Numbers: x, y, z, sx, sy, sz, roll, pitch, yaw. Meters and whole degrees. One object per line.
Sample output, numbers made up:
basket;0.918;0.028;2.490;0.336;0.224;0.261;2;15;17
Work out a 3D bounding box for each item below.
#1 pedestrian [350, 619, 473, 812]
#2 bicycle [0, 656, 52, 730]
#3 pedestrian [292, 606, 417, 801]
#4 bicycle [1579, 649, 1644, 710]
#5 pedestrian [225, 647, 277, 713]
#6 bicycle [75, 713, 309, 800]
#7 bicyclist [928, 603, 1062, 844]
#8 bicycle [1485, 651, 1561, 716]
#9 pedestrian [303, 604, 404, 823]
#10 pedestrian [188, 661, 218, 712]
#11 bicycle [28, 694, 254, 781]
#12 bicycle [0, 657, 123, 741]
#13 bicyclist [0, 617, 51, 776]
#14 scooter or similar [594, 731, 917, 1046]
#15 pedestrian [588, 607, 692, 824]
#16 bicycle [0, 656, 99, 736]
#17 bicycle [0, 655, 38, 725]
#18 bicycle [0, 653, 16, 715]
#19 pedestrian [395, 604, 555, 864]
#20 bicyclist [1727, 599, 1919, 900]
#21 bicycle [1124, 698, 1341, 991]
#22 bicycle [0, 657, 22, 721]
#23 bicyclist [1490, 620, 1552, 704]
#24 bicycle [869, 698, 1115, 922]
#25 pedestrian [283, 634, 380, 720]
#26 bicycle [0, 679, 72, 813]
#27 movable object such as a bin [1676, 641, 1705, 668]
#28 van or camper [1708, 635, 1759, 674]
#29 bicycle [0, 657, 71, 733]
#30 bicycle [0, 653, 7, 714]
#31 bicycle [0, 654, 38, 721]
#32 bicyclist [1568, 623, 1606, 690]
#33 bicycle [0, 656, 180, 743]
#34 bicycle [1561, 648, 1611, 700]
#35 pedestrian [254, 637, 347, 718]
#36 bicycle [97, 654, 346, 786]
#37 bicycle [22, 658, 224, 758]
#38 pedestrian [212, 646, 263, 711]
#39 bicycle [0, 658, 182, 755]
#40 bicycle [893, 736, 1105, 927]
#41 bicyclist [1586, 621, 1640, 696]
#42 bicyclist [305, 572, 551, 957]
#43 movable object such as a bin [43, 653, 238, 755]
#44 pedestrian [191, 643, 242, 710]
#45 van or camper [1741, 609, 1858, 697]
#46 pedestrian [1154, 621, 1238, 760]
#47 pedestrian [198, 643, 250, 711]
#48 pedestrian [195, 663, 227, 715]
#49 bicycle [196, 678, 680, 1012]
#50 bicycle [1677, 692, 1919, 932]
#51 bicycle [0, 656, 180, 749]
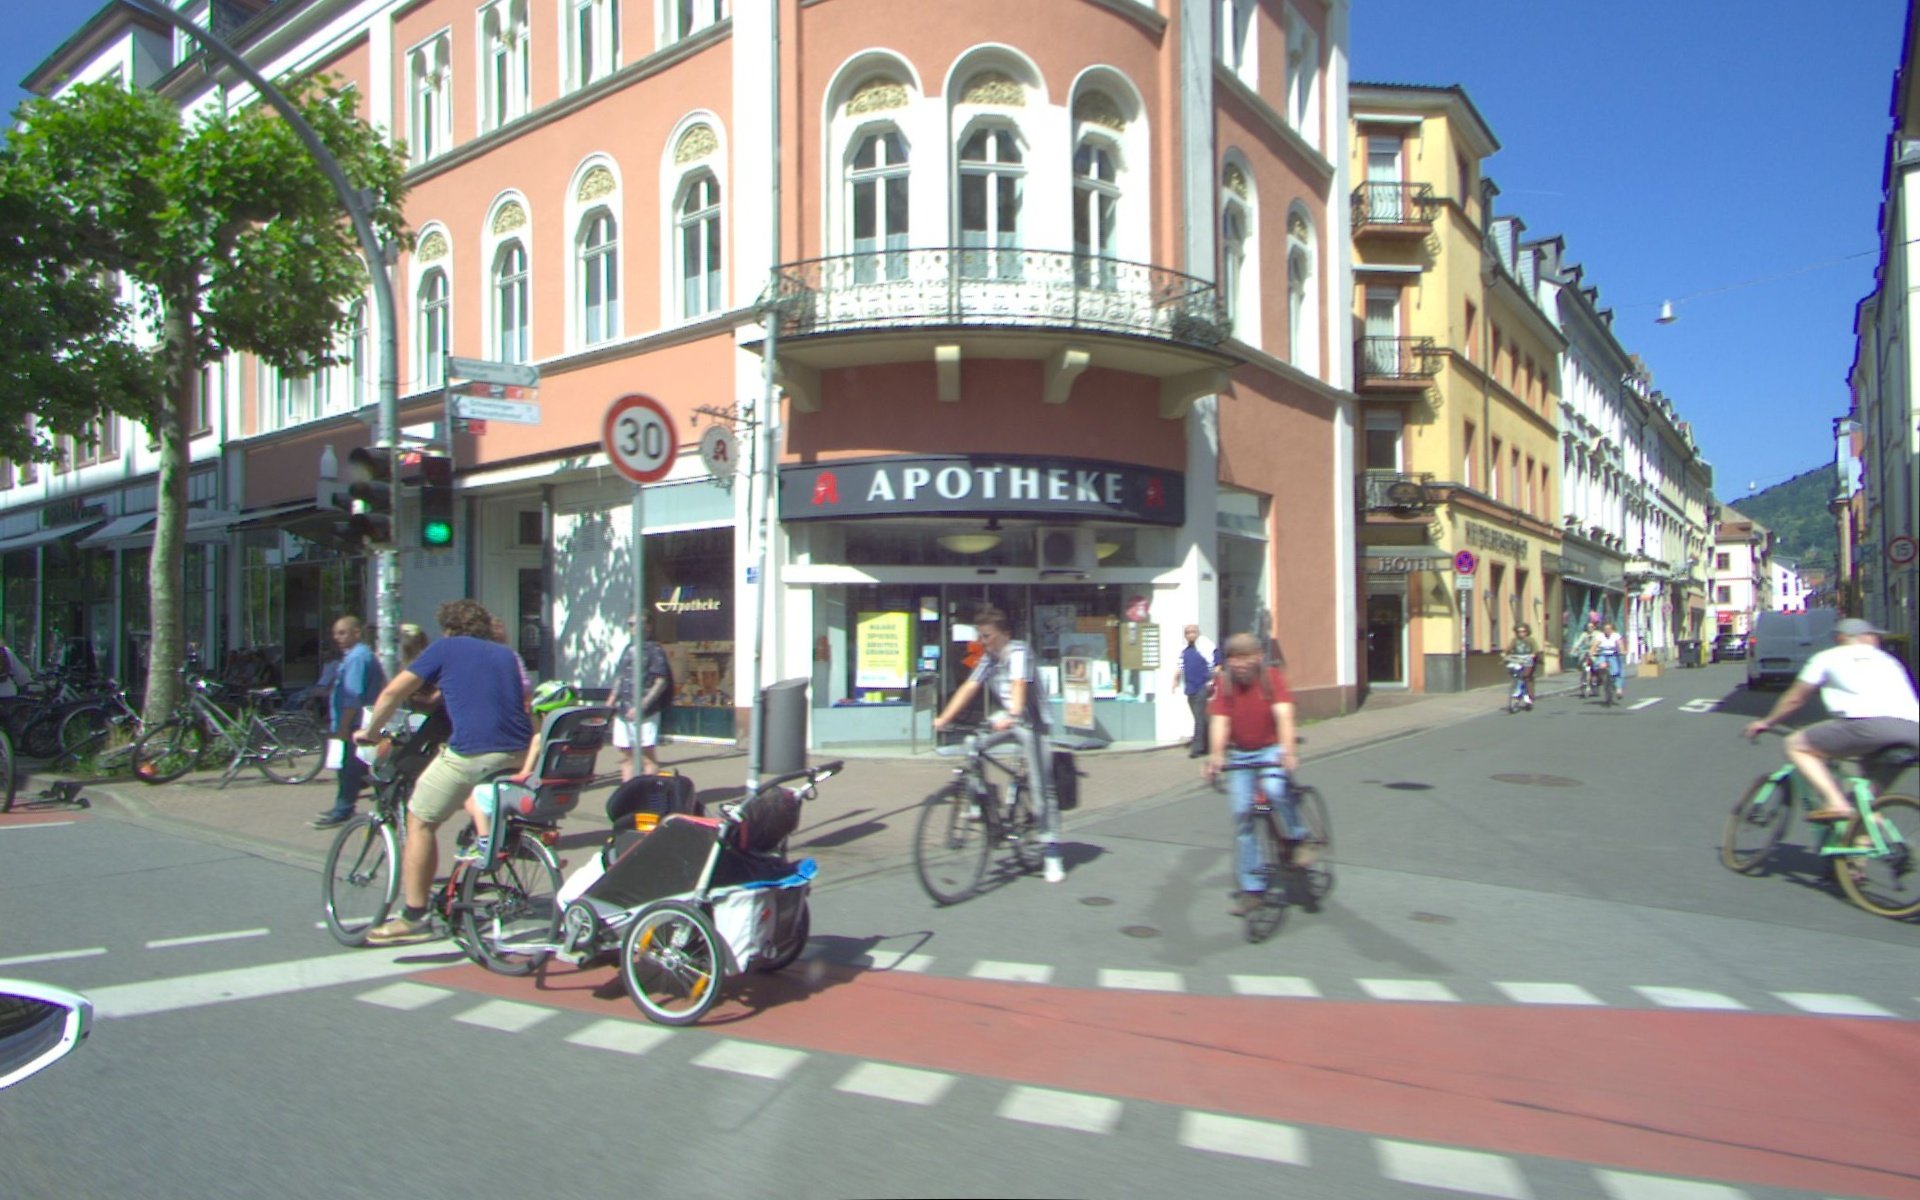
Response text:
pedestrian;-5.153;1.046;9.431;0.631;1.712;0.786;0;-2;30
bicycle;-15.379;1.463;15.533;0.523;1.141;1.835;-2;-3;34
pedestrian;-5.960;0.996;9.875;0.631;1.817;0.787;0;-3;30
bicycle;13.240;1.569;20.297;0.764;1.141;2.553;0;-2;41
pedestrian;-13.990;1.569;19.769;0.600;1.269;0.638;-2;-1;30
bicycle;-8.790;1.788;11.532;1.823;0.440;1.137;-9;6;8
bicyclist;0.240;0.748;6.440;0.494;1.429;0.857;-1;-1;33
bicycle;11.018;1.602;19.551;0.762;1.141;2.553;-3;-3;41
pedestrian;-5.244;0.957;8.663;0.599;1.817;0.452;0;-3;31
pedestrian;-14.926;1.705;19.738;0.431;0.980;0.340;-1;-2;35
bicycle;-9.575;1.655;11.773;1.021;0.395;1.850;-40;-31;23
bicycle;-13.198;1.395;14.271;0.635;1.141;1.835;-2;-3;34
bicyclist;-9.247;0.898;9.434;0.946;1.463;0.698;-1;-3;30
scooter or similar;-0.866;1.154;4.342;1.108;1.073;0.784;-1;-3;26
pedestrian;-2.902;1.030;9.087;0.608;1.865;0.636;-2;-5;45
bicycle;-14.050;1.411;14.854;0.658;1.141;1.835;-2;-3;34
bicycle;-16.189;1.465;16.145;0.671;1.141;1.834;-2;-3;37
bicycle;-18.351;1.542;18.085;0.442;1.141;1.835;-2;-3;35
pedestrian;-3.474;0.944;7.197;0.778;1.728;0.639;-3;-6;30
bicyclist;5.453;0.840;6.169;0.562;1.684;1.159;0;0;0
bicycle;1.666;1.213;5.737;0.618;1.141;2.564;0;-2;29
bicycle;-17.746;1.557;17.566;0.525;1.140;1.830;-3;-5;45
bicyclist;10.882;1.192;19.419;0.762;1.576;1.215;-3;-3;41
bicycle;0.272;1.251;6.476;0.658;1.141;1.834;-2;-3;36
pedestrian;-11.420;1.378;18.224;0.825;1.502;1.251;-1;-3;30
bicycle;-9.254;1.333;9.419;2.050;1.140;0.698;-1;-4;30
movable object such as a bin;31.557;2.340;43.266;0.955;1.162;1.255;-1;-2;39
van or camper;42.265;2.947;54.690;1.978;2.039;3.969;-2;-3;41
bicycle;-14.787;1.446;15.188;0.658;1.141;1.835;-2;-3;34
bicycle;-18.740;1.552;18.318;0.442;1.141;1.835;-2;-3;35
bicycle;-17.165;1.516;17.169;1.973;1.141;0.754;2;-3;-45
bicyclist;14.747;1.318;23.554;0.621;1.549;0.882;0;-1;41
bicycle;-12.429;1.389;14.365;0.658;1.141;1.835;-2;-3;34
bicycle;14.773;1.723;23.591;0.621;1.141;2.553;0;-2;41
pedestrian;-12.215;1.414;18.558;0.778;1.440;1.231;-2;-2;30
bicycle;-7.414;1.215;10.161;1.826;1.203;0.715;4;-2;-19
bicycle;-10.197;1.310;12.273;1.828;1.141;0.342;5;-3;-42
pedestrian;-14.491;1.562;20.081;0.524;1.269;0.680;0;0;30
bicycle;-11.288;1.333;12.952;0.659;1.141;1.832;-2;-3;40
bicycle;0.314;1.389;6.384;0.494;0.855;1.817;-1;-2;33
bicyclist;13.241;1.165;20.298;0.764;1.449;1.250;0;-1;41
bicyclist;-2.557;0.742;4.868;0.760;1.695;0.732;-1;-1;15
movable object such as a bin;-10.398;1.308;12.767;1.839;1.203;0.647;5;-4;-42
pedestrian;-15.404;1.571;20.743;0.524;1.349;0.680;-1;-2;30
van or camper;21.601;1.298;25.694;1.980;2.039;4.543;-2;-2;44
pedestrian;3.013;1.128;12.789;0.781;1.680;0.636;1;0;43
pedestrian;-14.954;1.546;20.352;0.524;1.355;0.680;-1;-1;30
pedestrian;-14.432;1.701;19.292;0.431;0.980;0.364;-1;-2;35
bicycle;-2.563;1.080;4.910;2.242;1.285;0.733;1;-2;20
bicycle;5.453;1.225;6.174;0.562;1.142;2.078;0;0;0
bicycle;-11.805;1.351;13.567;0.658;1.141;1.835;-2;-3;34
